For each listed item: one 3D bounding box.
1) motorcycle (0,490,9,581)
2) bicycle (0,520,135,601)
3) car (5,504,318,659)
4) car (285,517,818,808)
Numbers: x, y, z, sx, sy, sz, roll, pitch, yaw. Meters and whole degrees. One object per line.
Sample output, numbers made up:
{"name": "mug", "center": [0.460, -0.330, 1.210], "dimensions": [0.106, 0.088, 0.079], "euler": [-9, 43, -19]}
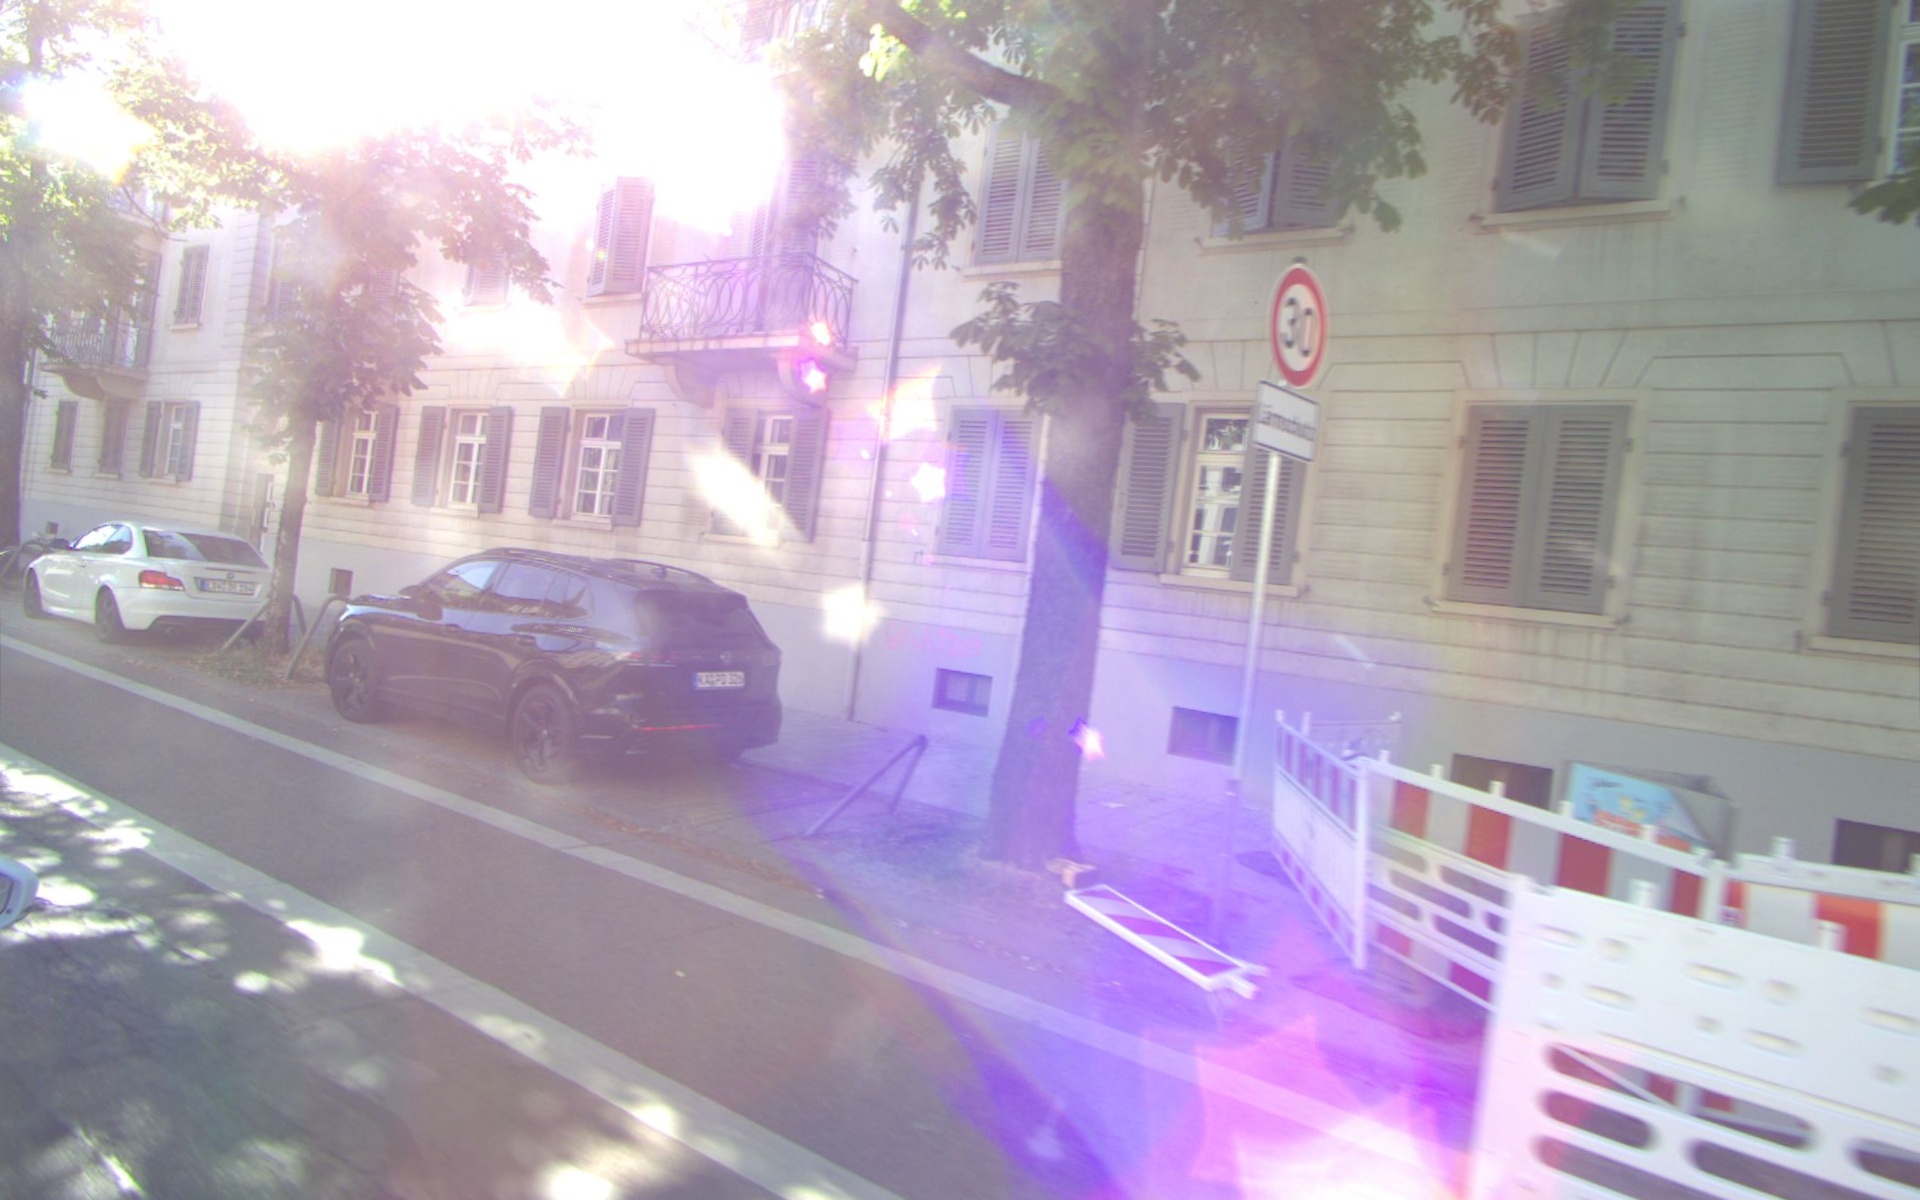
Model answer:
{"name": "motorcycle", "center": [-17.357, -1.231, 17.214], "dimensions": [2.635, 1.508, 0.914], "euler": [7, 1, 33]}
{"name": "bicycle", "center": [-13.731, -0.595, 15.323], "dimensions": [0.674, 1.056, 1.621], "euler": [7, 1, 32]}
{"name": "car", "center": [-9.997, -0.265, 12.502], "dimensions": [4.285, 1.399, 1.725], "euler": [7, 1, 33]}
{"name": "car", "center": [-3.595, 0.357, 8.547], "dimensions": [4.508, 1.647, 1.811], "euler": [7, 1, 32]}
